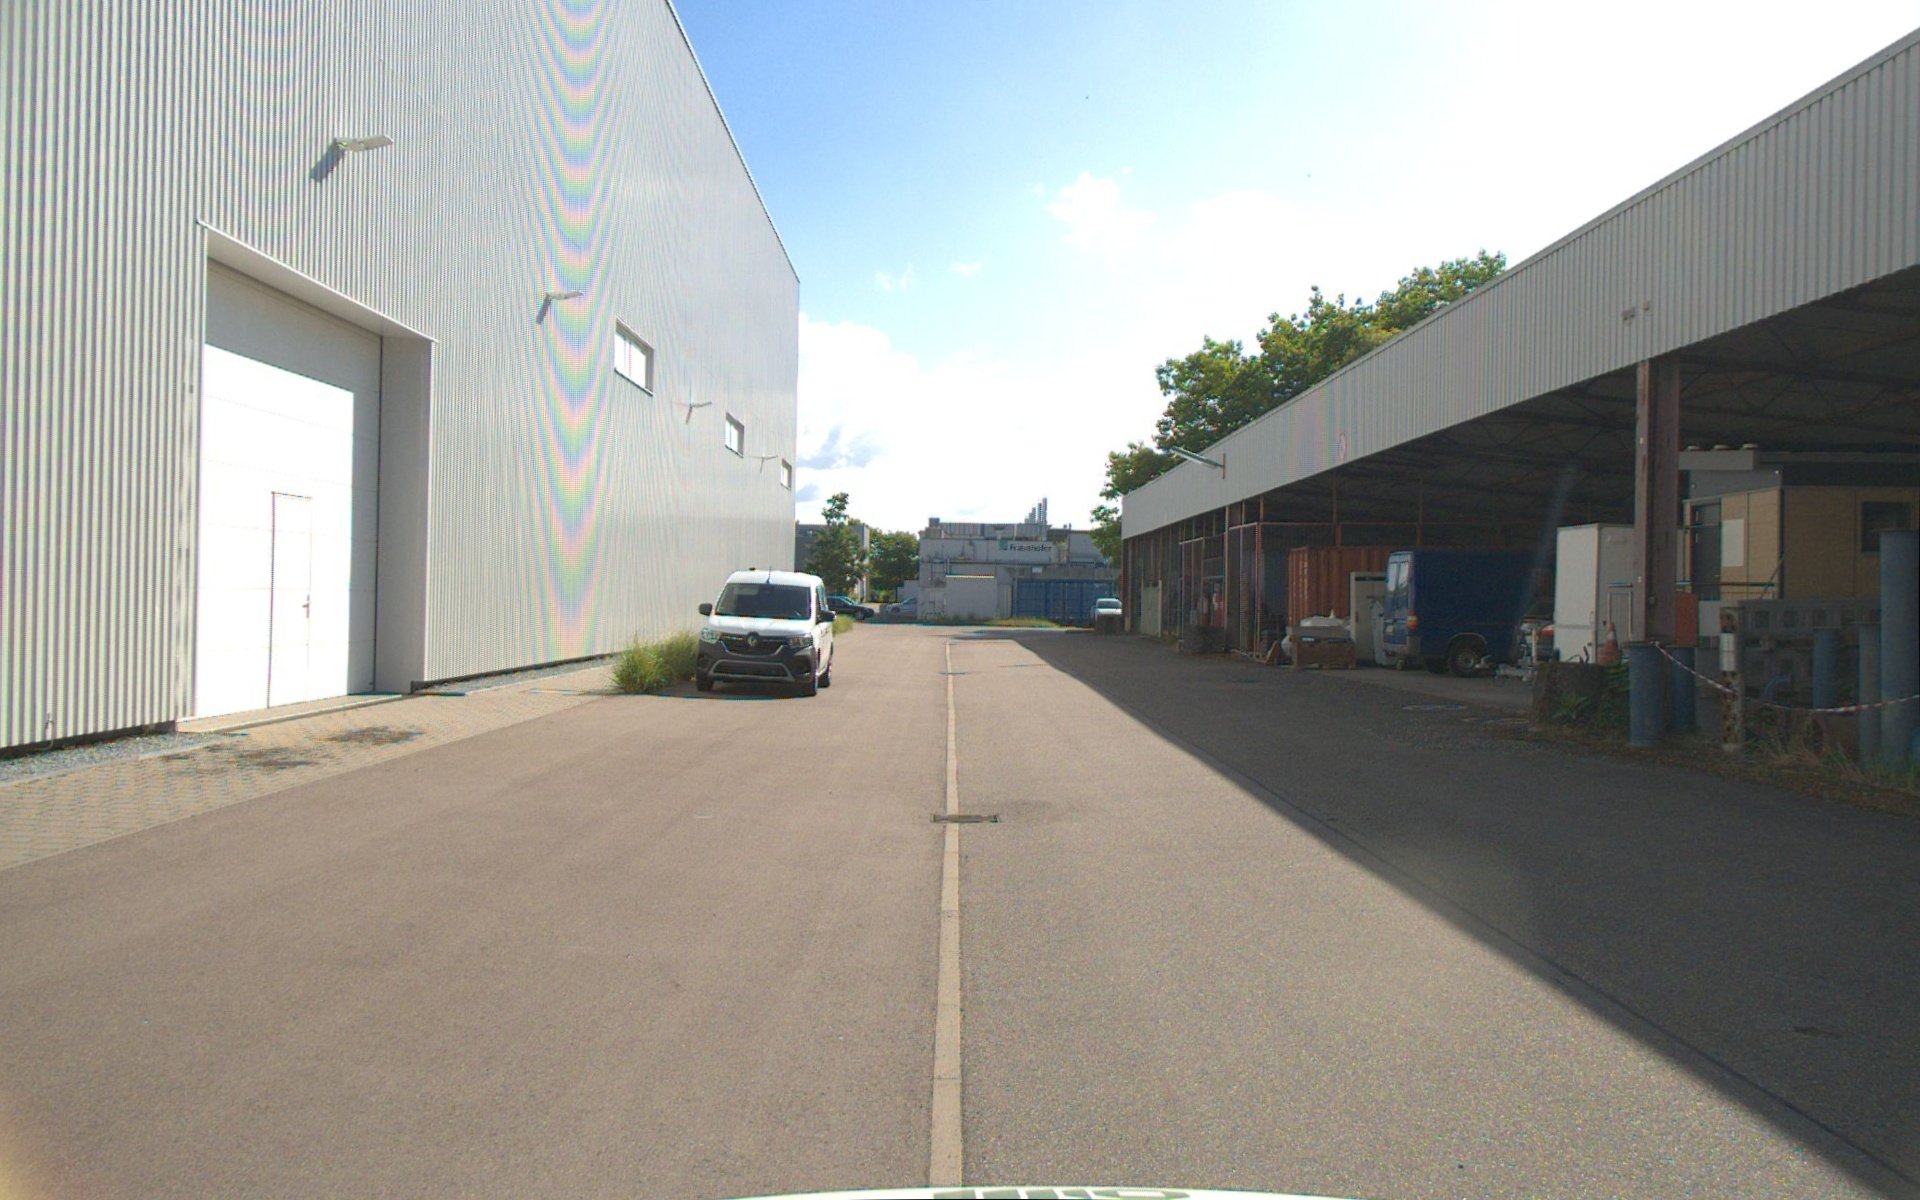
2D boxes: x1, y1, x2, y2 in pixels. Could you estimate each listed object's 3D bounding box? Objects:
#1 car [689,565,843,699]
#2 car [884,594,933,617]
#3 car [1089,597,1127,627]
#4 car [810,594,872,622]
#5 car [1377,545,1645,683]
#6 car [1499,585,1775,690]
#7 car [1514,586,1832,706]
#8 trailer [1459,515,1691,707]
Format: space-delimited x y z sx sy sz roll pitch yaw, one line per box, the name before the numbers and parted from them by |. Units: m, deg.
car | -2.896 0.431 25.520 1.781 1.818 4.405 2 0 0
car | -4.201 0.464 135.600 3.907 1.626 1.847 2 -2 -2
car | 8.519 0.685 95.442 1.921 1.592 4.060 2 1 1
car | -7.740 0.505 107.681 3.907 1.626 1.741 2 -2 -2
car | 10.249 0.285 30.992 4.342 2.350 1.915 2 -2 0
car | 11.354 0.643 27.905 3.955 1.551 1.684 2 -2 0
car | 10.474 0.687 24.472 3.955 1.551 1.684 2 -2 0
trailer | 8.185 0.156 22.183 2.472 2.441 1.727 1 -1 0
